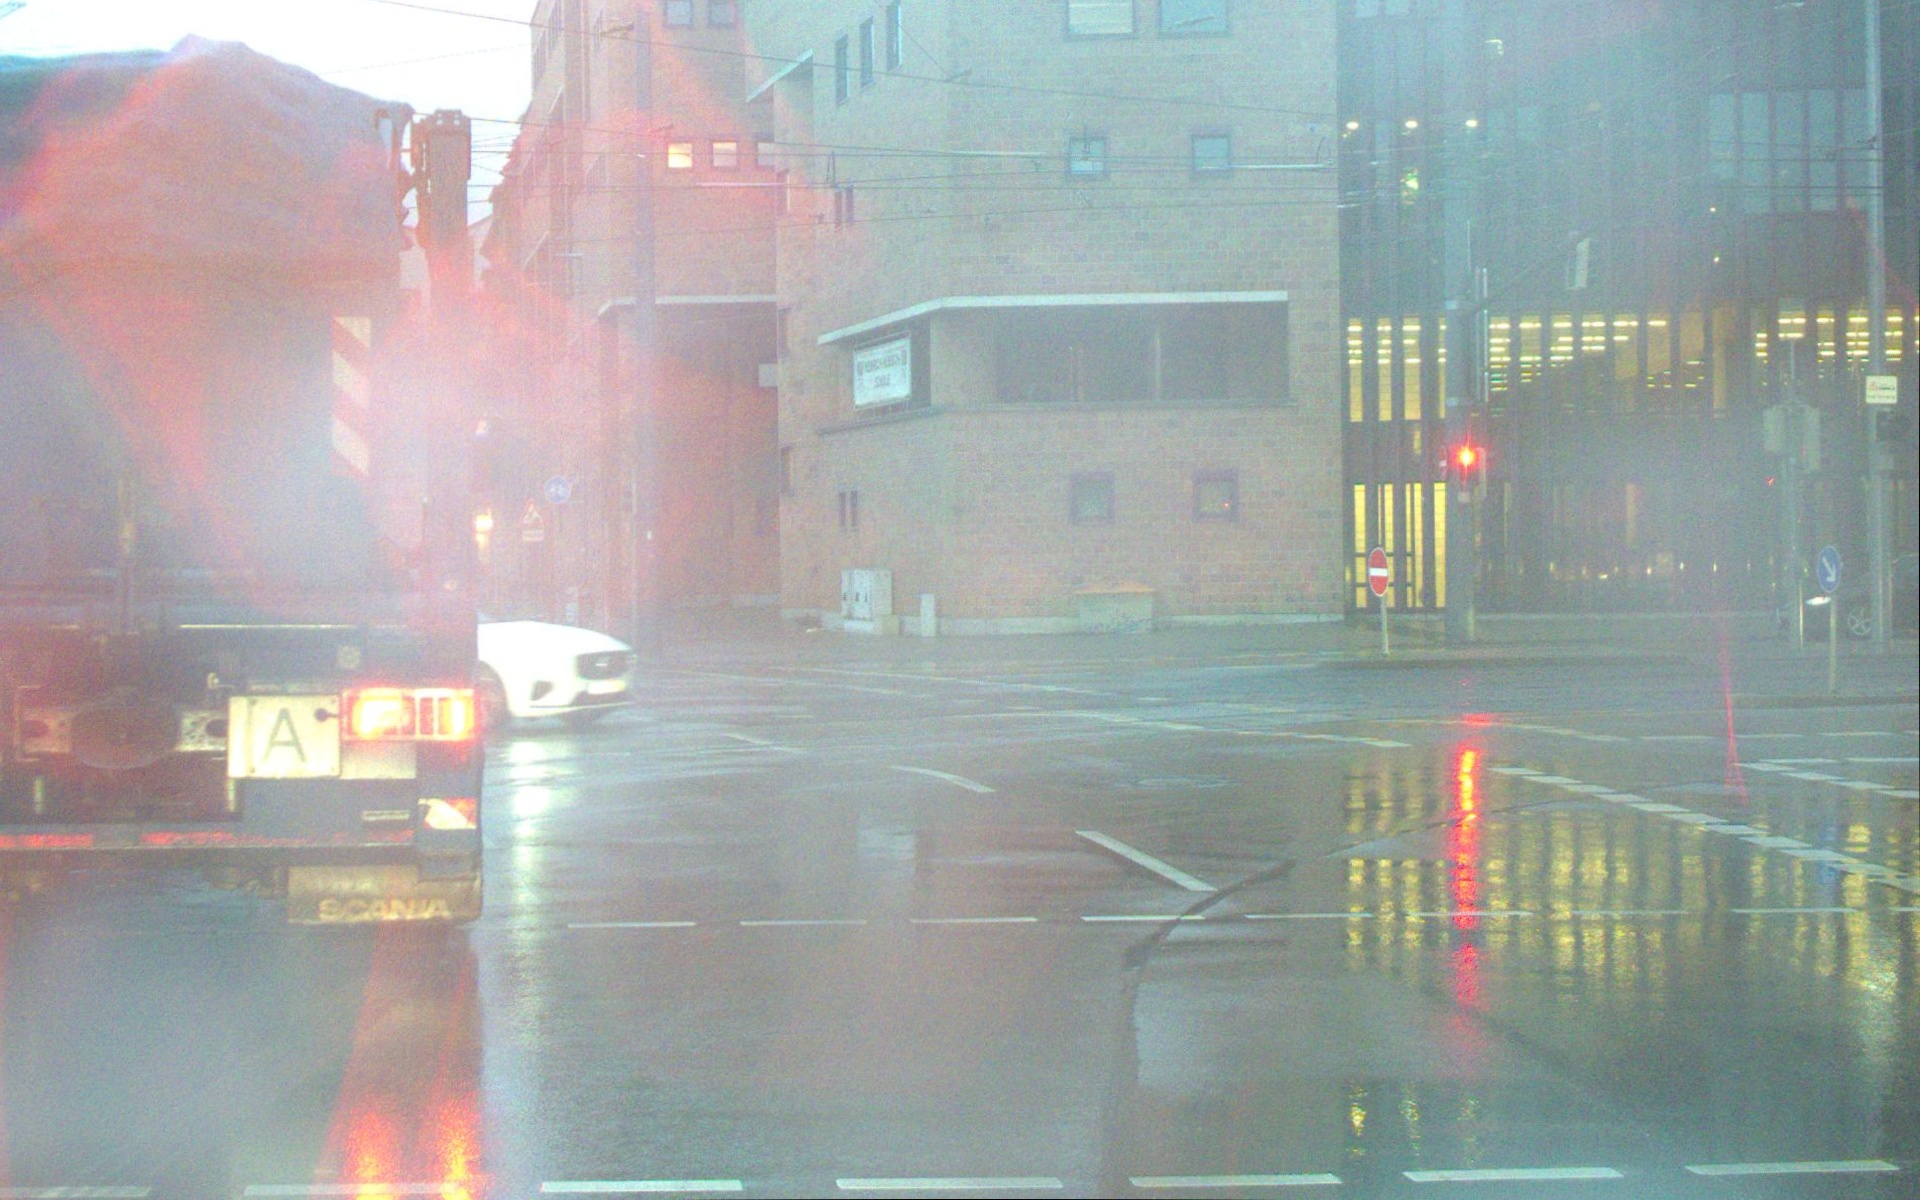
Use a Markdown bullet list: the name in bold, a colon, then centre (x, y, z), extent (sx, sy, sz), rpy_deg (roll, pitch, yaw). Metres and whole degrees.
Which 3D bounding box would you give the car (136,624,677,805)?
- **car**: centre (-5.304, 1.046, 32.829), extent (4.825, 1.556, 2.047), rpy_deg (0, 1, 28)

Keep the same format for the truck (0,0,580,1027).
- **truck**: centre (-3.438, -0.428, 15.391), extent (2.838, 3.621, 7.529), rpy_deg (-1, 1, -11)

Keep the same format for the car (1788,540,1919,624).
- **car**: centre (15.691, -0.324, 55.731), extent (3.986, 1.305, 2.000), rpy_deg (-1, 1, -4)
